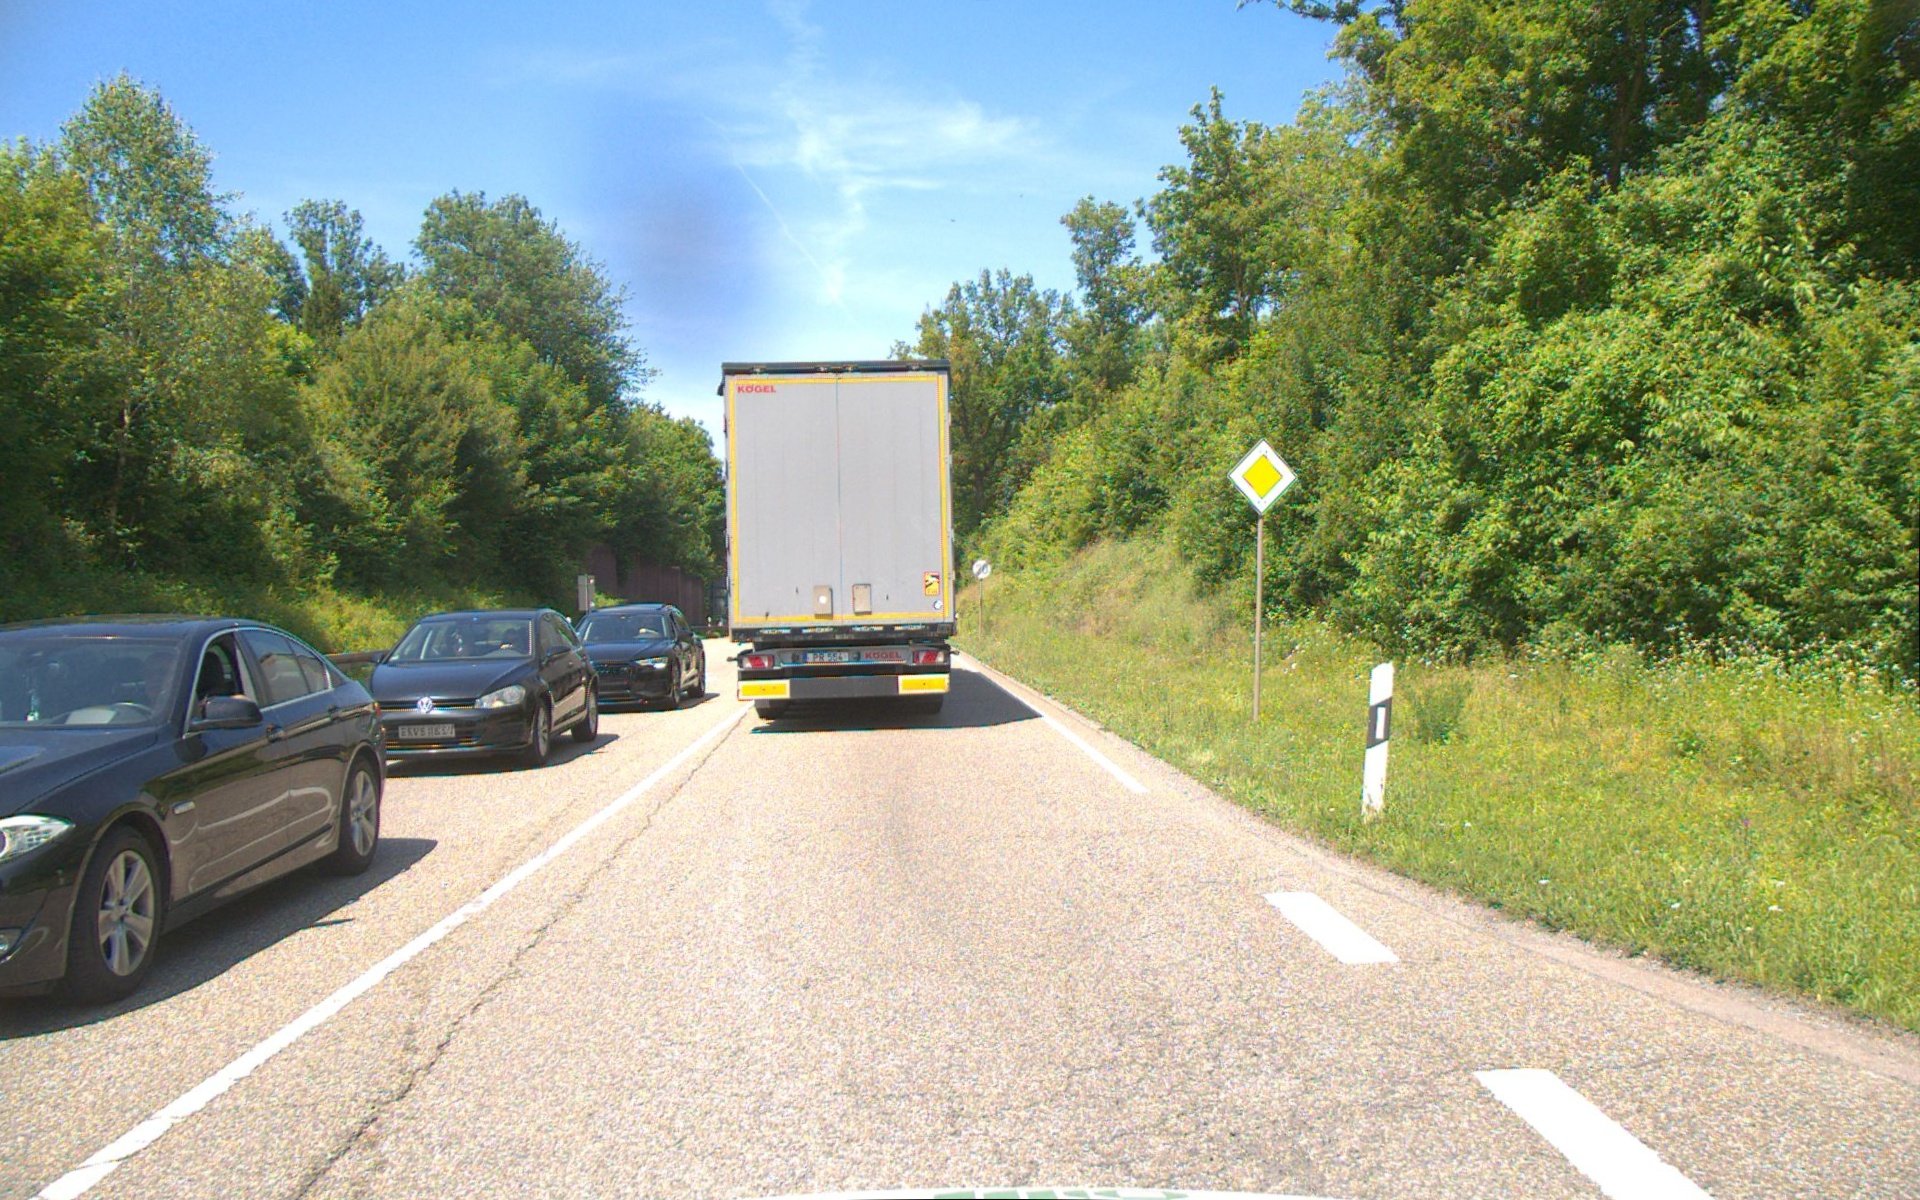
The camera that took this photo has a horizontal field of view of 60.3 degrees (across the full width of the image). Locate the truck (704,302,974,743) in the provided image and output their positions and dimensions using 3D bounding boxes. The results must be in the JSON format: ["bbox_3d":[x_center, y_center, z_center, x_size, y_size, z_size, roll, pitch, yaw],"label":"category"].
[{"bbox_3d":[-1.532,-0.868,21.247,2.767,4.684,6.660,-2,0,-4],"label":"truck"}]

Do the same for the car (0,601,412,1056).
[{"bbox_3d":[-4.097,0.782,7.735,1.746,1.472,4.637,-2,0,-4],"label":"car"}]

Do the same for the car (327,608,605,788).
[{"bbox_3d":[-4.692,0.849,16.314,1.648,1.439,4.179,-2,0,-3],"label":"car"}]

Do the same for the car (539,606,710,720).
[{"bbox_3d":[-4.888,0.863,24.650,1.768,1.478,4.384,-2,0,-2],"label":"car"}]
